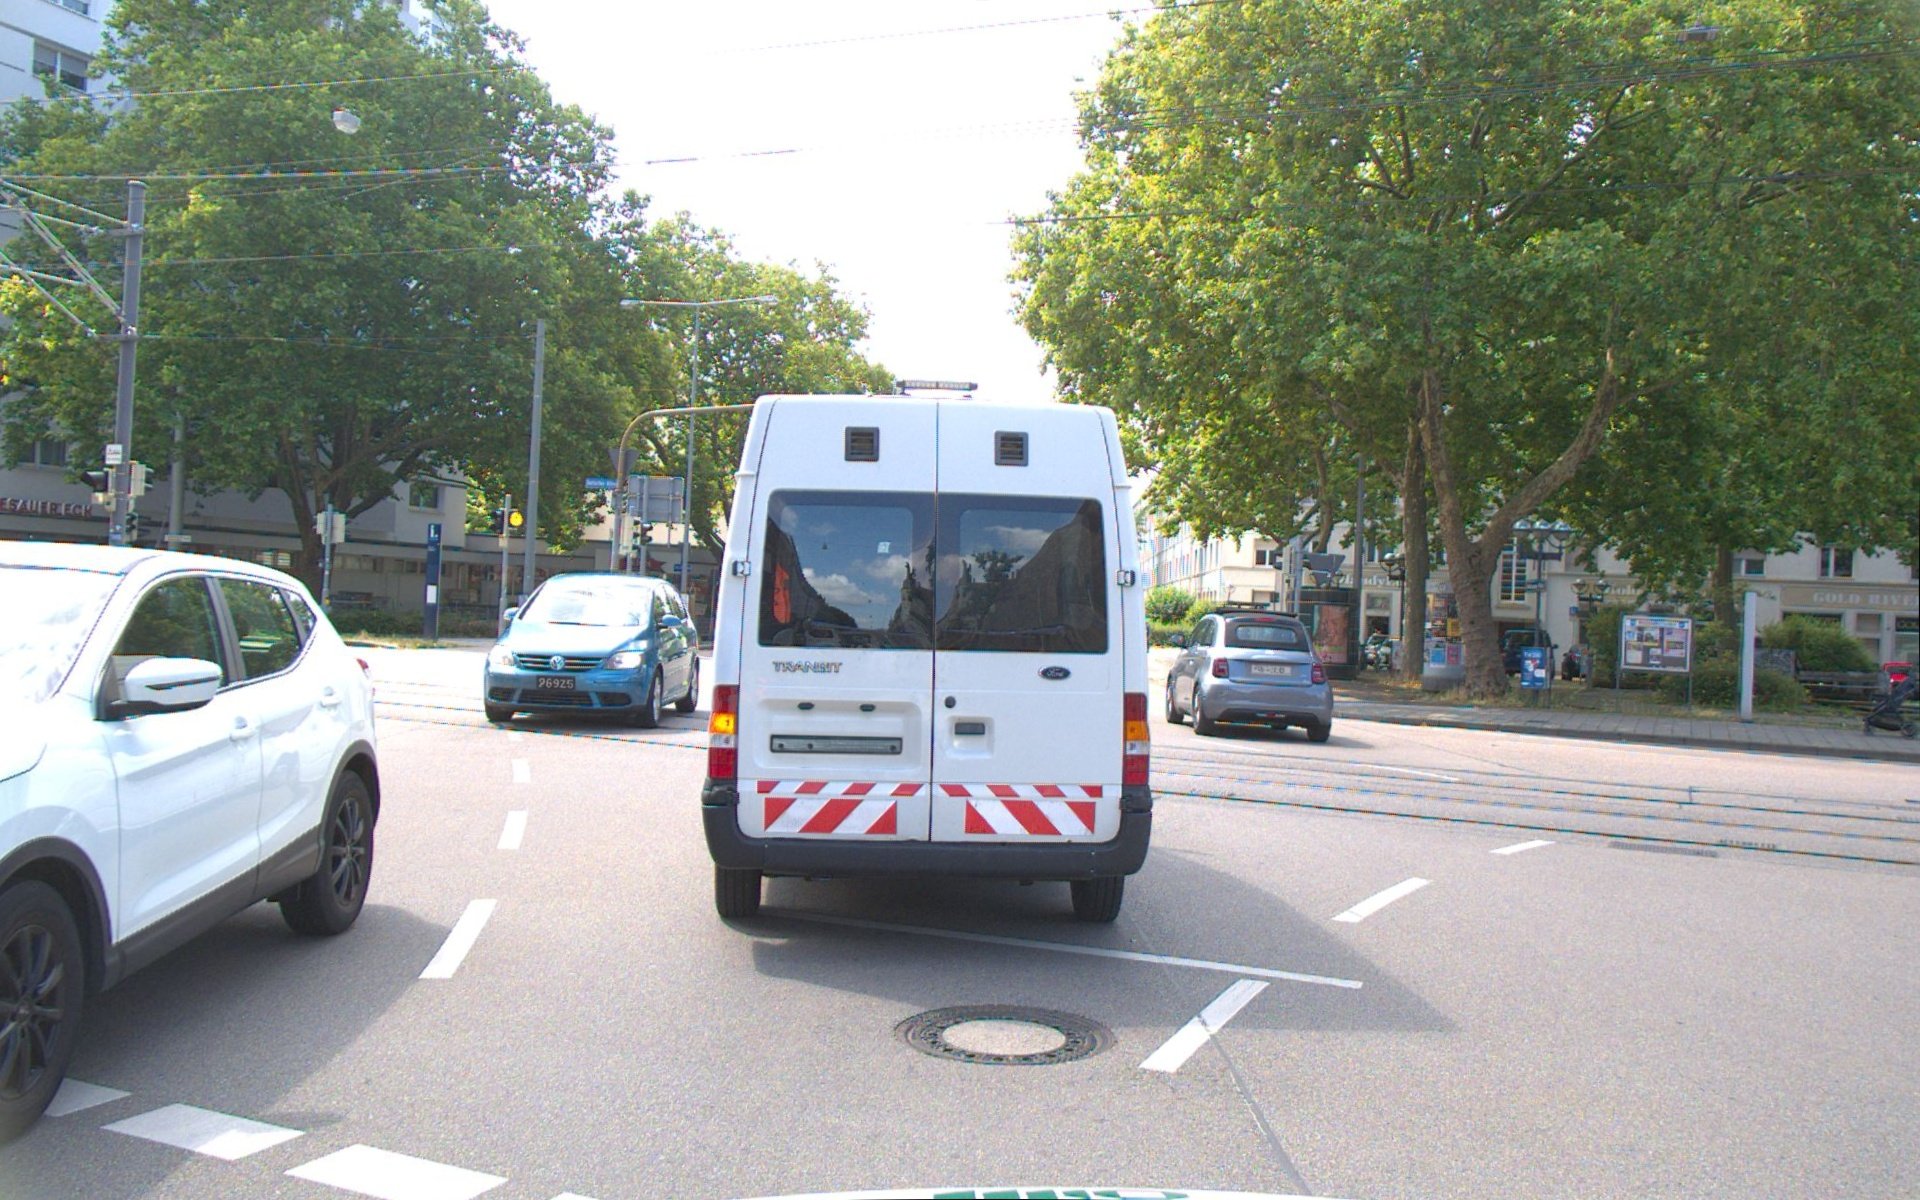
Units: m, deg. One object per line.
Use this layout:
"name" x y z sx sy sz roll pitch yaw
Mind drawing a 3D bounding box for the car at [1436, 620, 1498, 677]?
"car" 21.325 2.032 69.442 1.954 2.221 4.255 2 -1 24

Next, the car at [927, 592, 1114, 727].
"car" 0.681 0.704 21.557 1.780 1.532 4.124 2 0 -7

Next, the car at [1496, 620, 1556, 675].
"car" 23.520 1.974 68.673 1.954 2.112 3.998 2 -1 24

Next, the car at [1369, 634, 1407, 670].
"car" 18.294 2.201 70.633 1.434 1.413 3.237 2 -1 17

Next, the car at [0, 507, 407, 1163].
"car" -3.272 0.546 5.379 1.735 1.610 4.018 2 0 -3

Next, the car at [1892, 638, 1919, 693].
"car" 36.999 2.515 63.067 1.953 2.049 3.999 2 -1 22

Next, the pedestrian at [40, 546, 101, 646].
"pedestrian" -15.420 -0.064 28.666 0.662 1.695 0.624 2 -1 32

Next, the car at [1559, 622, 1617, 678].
"car" 25.591 2.045 67.359 1.954 2.112 3.998 2 -1 24

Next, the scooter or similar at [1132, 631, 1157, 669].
"scooter or similar" 5.595 1.516 50.215 0.538 1.110 1.291 2 0 -1

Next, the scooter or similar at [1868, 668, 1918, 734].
"scooter or similar" 16.195 1.745 28.717 0.692 1.074 0.490 2 -1 25

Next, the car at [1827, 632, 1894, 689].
"car" 34.983 2.327 64.307 1.954 2.049 3.997 2 -1 25

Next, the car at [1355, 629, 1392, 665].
"car" 20.543 2.336 82.168 1.435 1.695 3.067 2 -1 19

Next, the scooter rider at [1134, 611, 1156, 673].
"scooter rider" 5.606 1.278 50.213 0.515 1.843 0.649 2 -1 -1

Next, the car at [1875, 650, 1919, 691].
"car" 41.312 3.082 72.619 1.704 1.666 3.996 2 -1 25

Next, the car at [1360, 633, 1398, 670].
"car" 16.992 2.068 67.051 1.434 1.413 3.069 2 -1 15

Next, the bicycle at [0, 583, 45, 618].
"bicycle" -29.078 0.001 50.675 1.712 1.027 0.526 3 -1 -40

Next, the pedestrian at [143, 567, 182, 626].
"pedestrian" -22.377 -0.090 46.418 0.766 1.626 0.535 2 -1 21

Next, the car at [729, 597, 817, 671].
"car" -3.967 0.690 35.525 1.679 1.458 3.815 1 0 -4

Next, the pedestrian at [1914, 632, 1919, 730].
"pedestrian" 16.935 1.413 28.357 0.902 1.674 0.570 2 -1 25

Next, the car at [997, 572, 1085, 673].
"car" 2.301 0.627 48.594 2.076 2.687 6.327 2 0 -1

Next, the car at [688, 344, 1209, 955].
"car" -0.187 0.197 8.991 2.007 2.373 4.710 2 0 -4

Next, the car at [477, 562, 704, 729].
"car" -3.884 0.445 17.998 1.712 1.567 3.929 2 0 -3

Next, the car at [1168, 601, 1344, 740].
"car" 3.743 0.841 21.422 1.657 1.564 3.468 2 0 1
